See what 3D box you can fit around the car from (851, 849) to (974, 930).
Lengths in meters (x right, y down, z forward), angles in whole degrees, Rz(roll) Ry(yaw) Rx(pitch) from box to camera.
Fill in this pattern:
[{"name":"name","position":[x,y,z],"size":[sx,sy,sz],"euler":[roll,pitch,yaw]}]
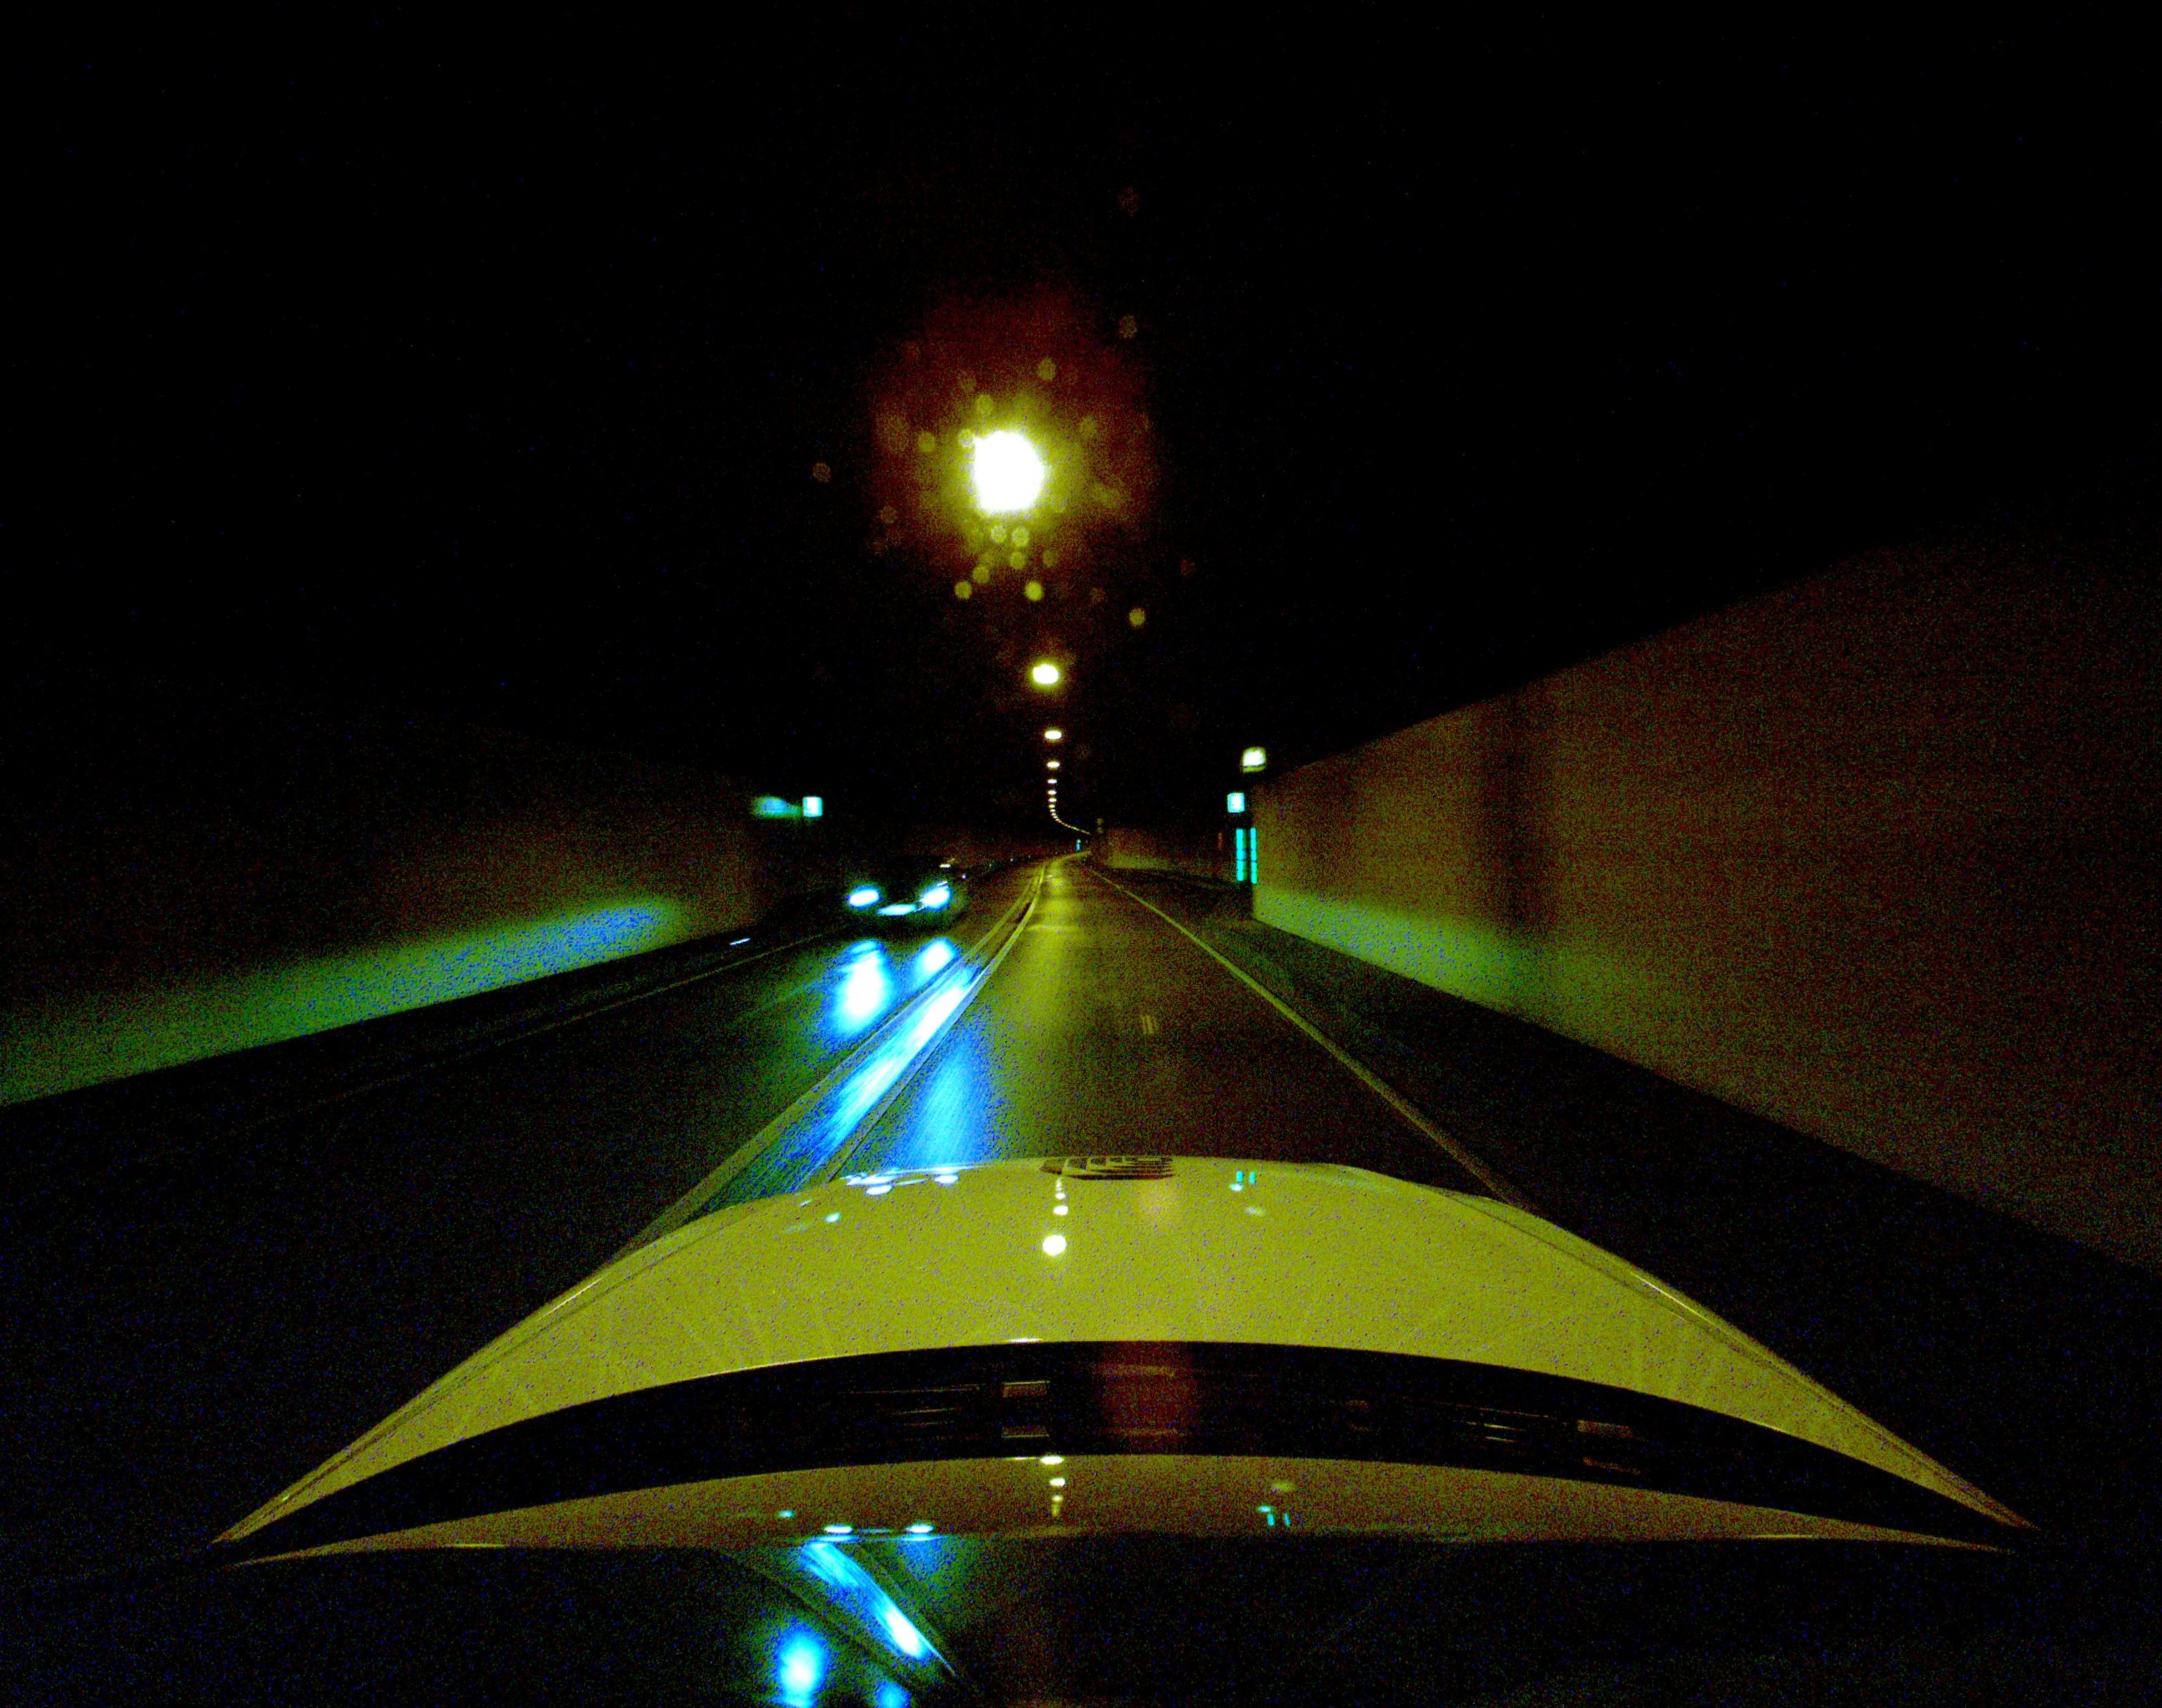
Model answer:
[{"name":"car","position":[-3.361,0.634,16.996],"size":[1.702,1.416,4.116],"euler":[-1,1,0]}]
